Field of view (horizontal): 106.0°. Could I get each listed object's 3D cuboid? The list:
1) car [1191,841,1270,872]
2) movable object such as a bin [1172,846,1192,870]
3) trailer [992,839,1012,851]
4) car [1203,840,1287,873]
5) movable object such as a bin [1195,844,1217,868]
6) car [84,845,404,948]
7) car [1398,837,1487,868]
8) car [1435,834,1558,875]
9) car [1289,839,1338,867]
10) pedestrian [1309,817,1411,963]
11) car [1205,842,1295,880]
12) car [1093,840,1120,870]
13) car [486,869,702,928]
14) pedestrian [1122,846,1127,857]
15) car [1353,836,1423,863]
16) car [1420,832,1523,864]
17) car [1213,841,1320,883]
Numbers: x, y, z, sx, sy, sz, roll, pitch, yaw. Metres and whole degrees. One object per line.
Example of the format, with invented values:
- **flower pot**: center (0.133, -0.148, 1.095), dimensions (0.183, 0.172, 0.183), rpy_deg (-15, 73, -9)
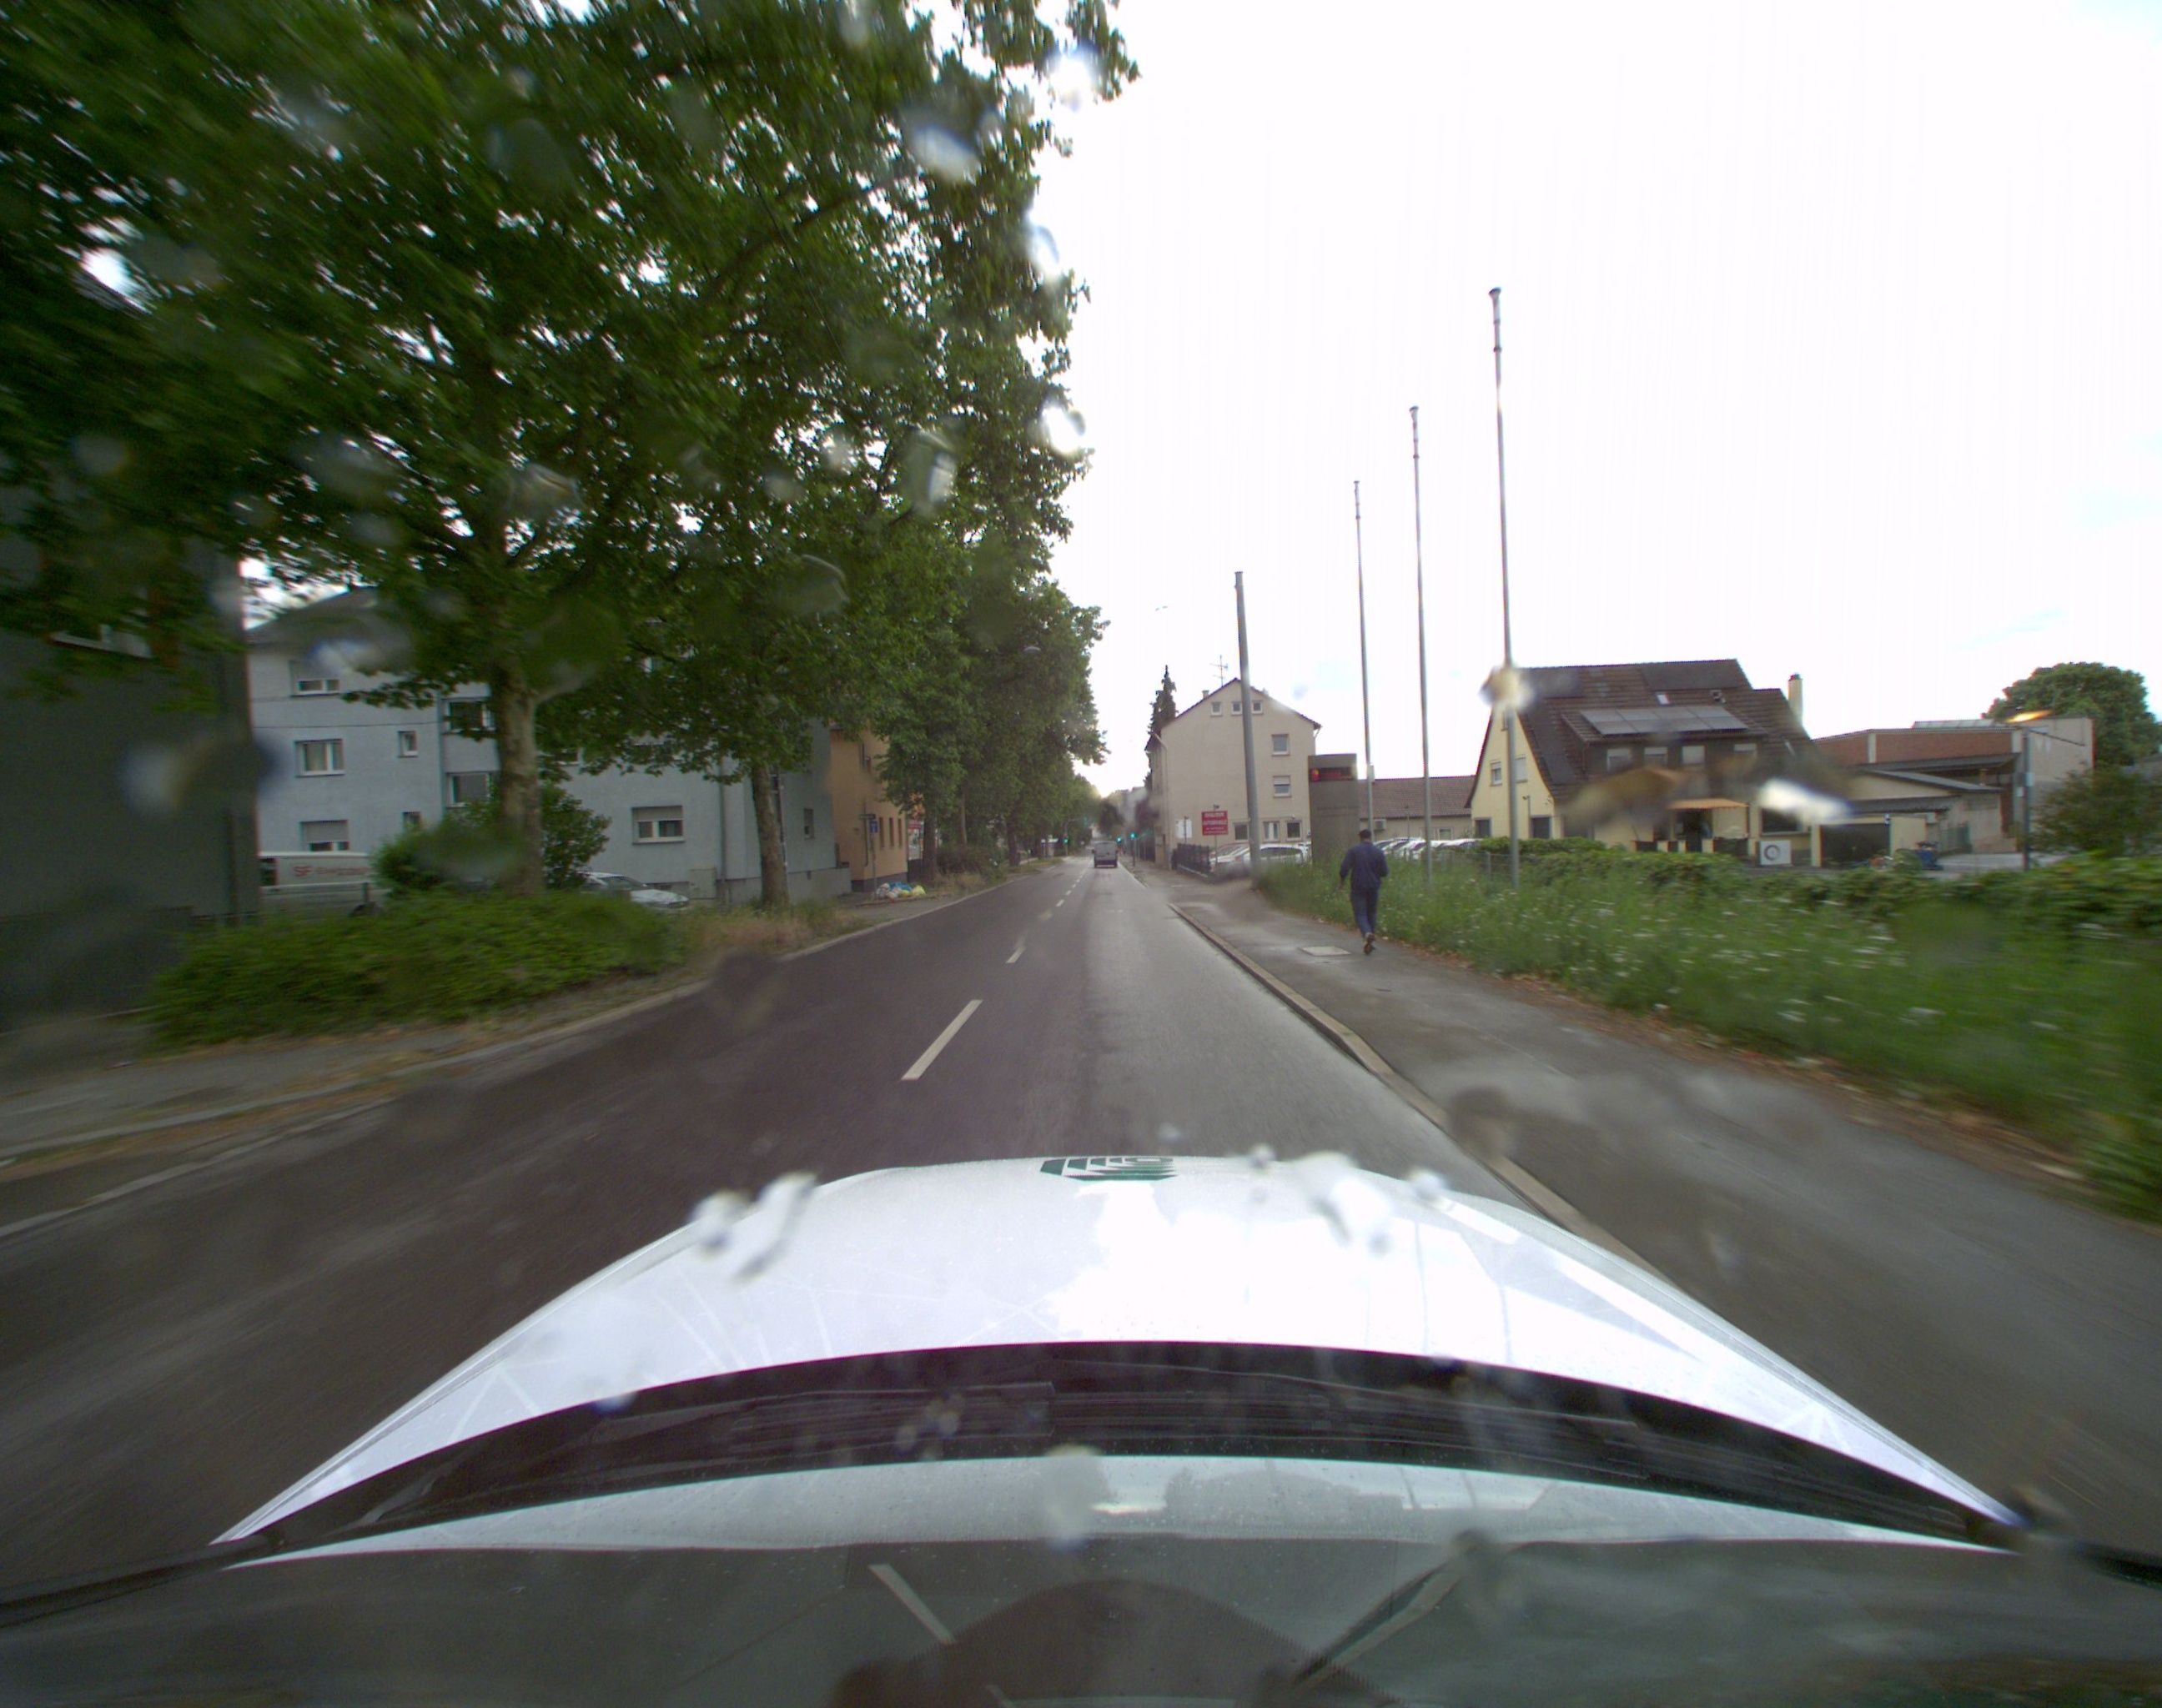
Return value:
- **car**: center (8.550, 0.157, 46.869), dimensions (4.213, 1.736, 1.870), rpy_deg (0, -1, 1)
- **movable object such as a bin**: center (6.810, 0.273, 54.933), dimensions (1.106, 1.509, 0.987), rpy_deg (-4, -1, 0)
- **trailer**: center (-11.225, -1.240, 115.853), dimensions (2.694, 1.645, 1.481), rpy_deg (-1, 0, 2)
- **car**: center (8.818, 0.134, 43.983), dimensions (4.213, 1.736, 1.870), rpy_deg (0, -1, 1)
- **movable object such as a bin**: center (8.419, 0.162, 54.751), dimensions (1.230, 1.509, 1.111), rpy_deg (-4, -1, 0)
- **car**: center (-17.600, 0.824, 17.542), dimensions (1.875, 1.920, 4.561), rpy_deg (0, -1, 6)
- **car**: center (18.251, -0.066, 41.241), dimensions (3.754, 1.532, 1.757), rpy_deg (0, 0, -3)
- **car**: center (18.338, 0.017, 36.064), dimensions (4.487, 1.626, 1.870), rpy_deg (-2, 0, 1)
- **car**: center (13.101, -0.034, 46.115), dimensions (1.801, 1.530, 3.628), rpy_deg (0, -1, 1)
- **pedestrian**: center (3.804, 0.480, 11.196), dimensions (1.039, 1.897, 0.901), rpy_deg (-2, -1, 1)
- **car**: center (7.961, 0.322, 38.637), dimensions (3.934, 1.724, 1.792), rpy_deg (0, 0, 1)
- **car**: center (2.276, 0.114, 71.768), dimensions (2.274, 2.553, 4.001), rpy_deg (-2, -1, 2)
- **car**: center (-12.938, 1.154, 21.825), dimensions (4.646, 1.477, 1.870), rpy_deg (0, -1, 1)
- **pedestrian**: center (6.813, -0.436, 128.179), dimensions (0.741, 1.704, 0.900), rpy_deg (0, -1, -4)
- **car**: center (19.060, -0.256, 50.682), dimensions (3.954, 1.593, 1.830), rpy_deg (-1, -1, 18)
- **car**: center (18.622, -0.252, 39.001), dimensions (3.974, 1.468, 2.000), rpy_deg (0, -1, 0)
- **car**: center (8.117, 0.362, 35.914), dimensions (4.287, 1.768, 2.000), rpy_deg (-1, -1, 1)
